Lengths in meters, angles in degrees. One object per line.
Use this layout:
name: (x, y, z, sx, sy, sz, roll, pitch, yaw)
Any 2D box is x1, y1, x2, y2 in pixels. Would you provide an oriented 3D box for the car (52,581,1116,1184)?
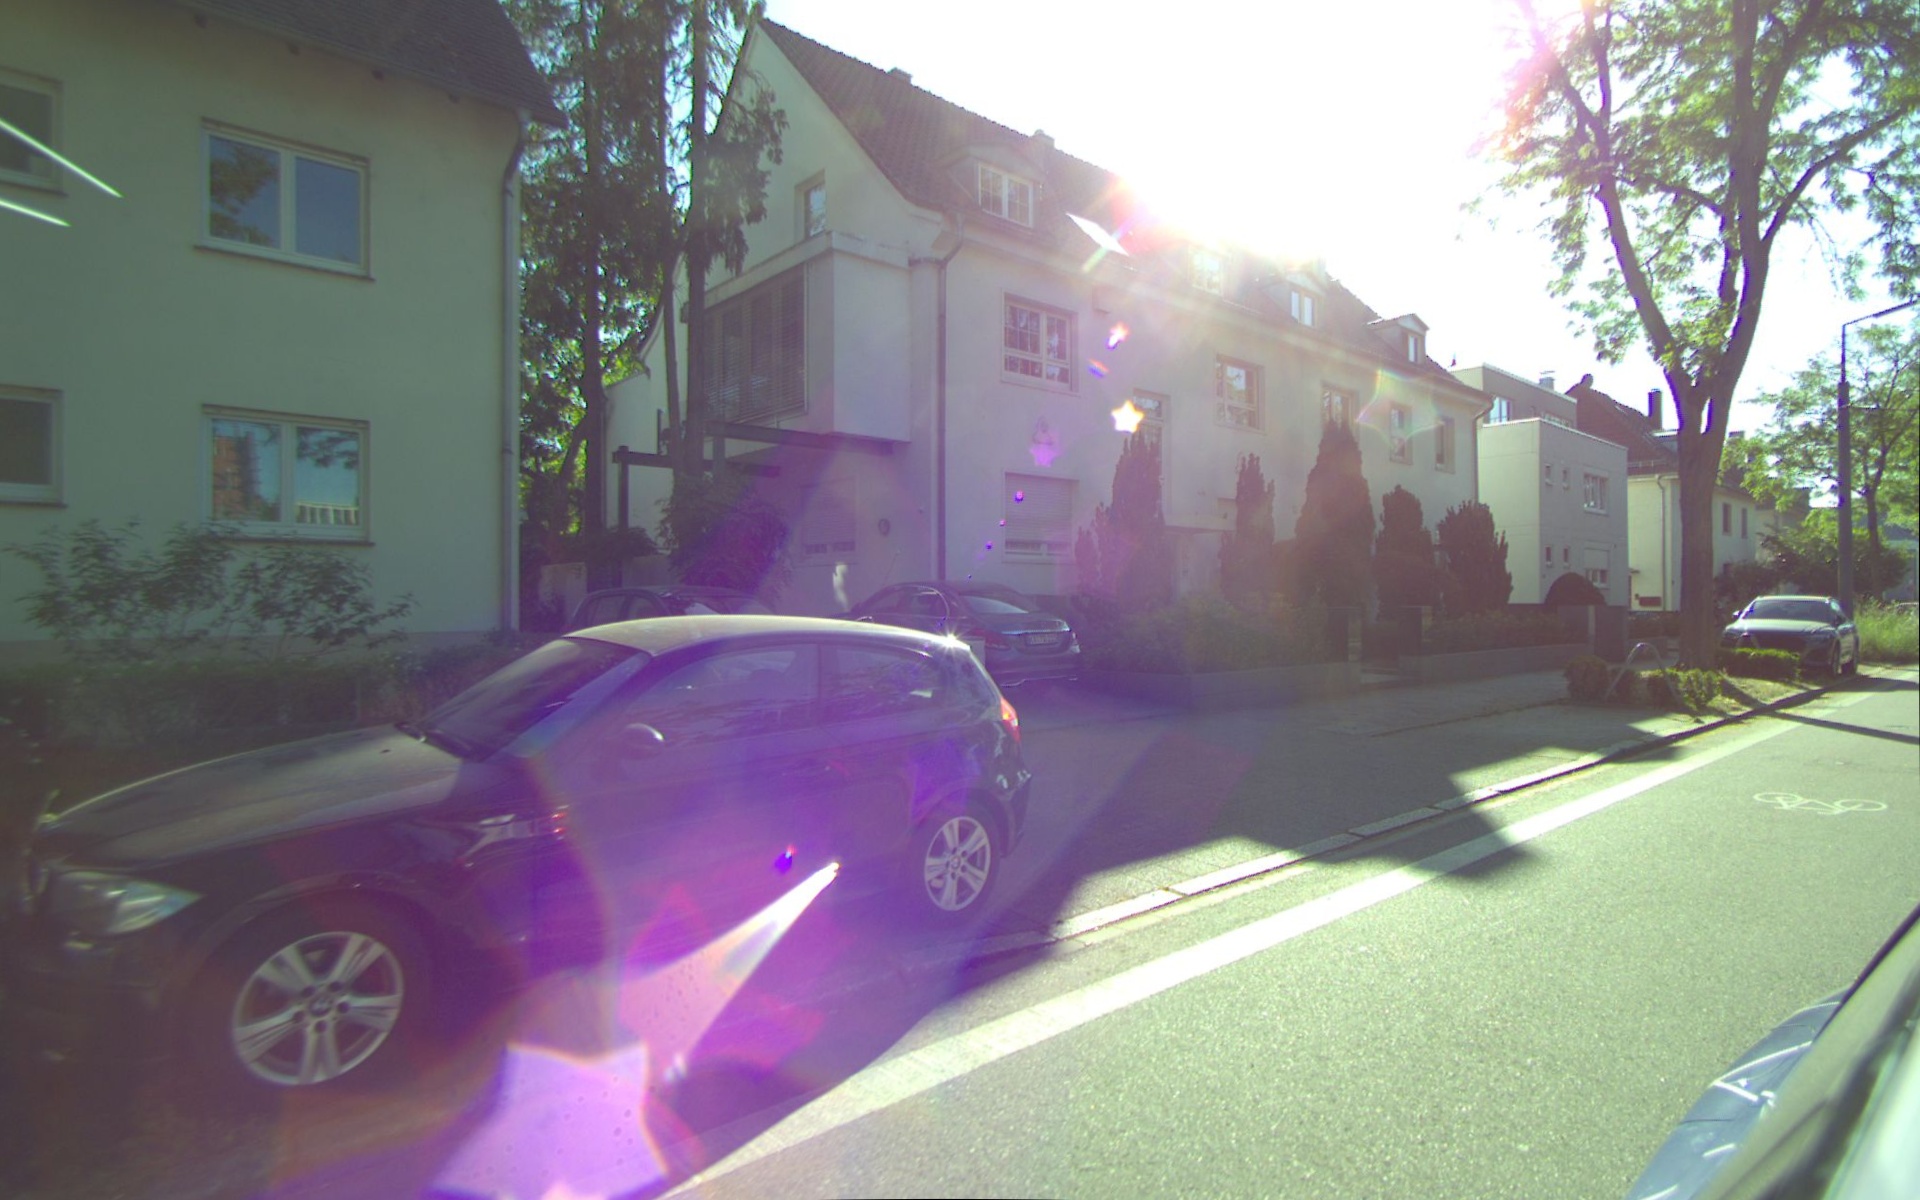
car: (-1.331, 0.702, 4.657, 4.228, 1.466, 1.787, 0, 3, -43)

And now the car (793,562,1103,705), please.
car: (-0.342, 0.305, 13.534, 1.824, 1.508, 4.434, 0, 2, -38)

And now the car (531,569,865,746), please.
car: (-2.863, 0.448, 10.608, 3.739, 1.508, 1.712, 2, 1, 44)

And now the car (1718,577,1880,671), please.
car: (17.895, 0.436, 21.522, 4.400, 1.725, 1.997, 0, 3, -42)

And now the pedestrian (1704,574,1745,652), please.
pedestrian: (19.058, 0.305, 25.229, 0.719, 1.893, 0.626, 0, 2, -42)

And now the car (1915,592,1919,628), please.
car: (41.918, 0.419, 42.884, 3.927, 1.513, 1.751, 0, 1, -41)
